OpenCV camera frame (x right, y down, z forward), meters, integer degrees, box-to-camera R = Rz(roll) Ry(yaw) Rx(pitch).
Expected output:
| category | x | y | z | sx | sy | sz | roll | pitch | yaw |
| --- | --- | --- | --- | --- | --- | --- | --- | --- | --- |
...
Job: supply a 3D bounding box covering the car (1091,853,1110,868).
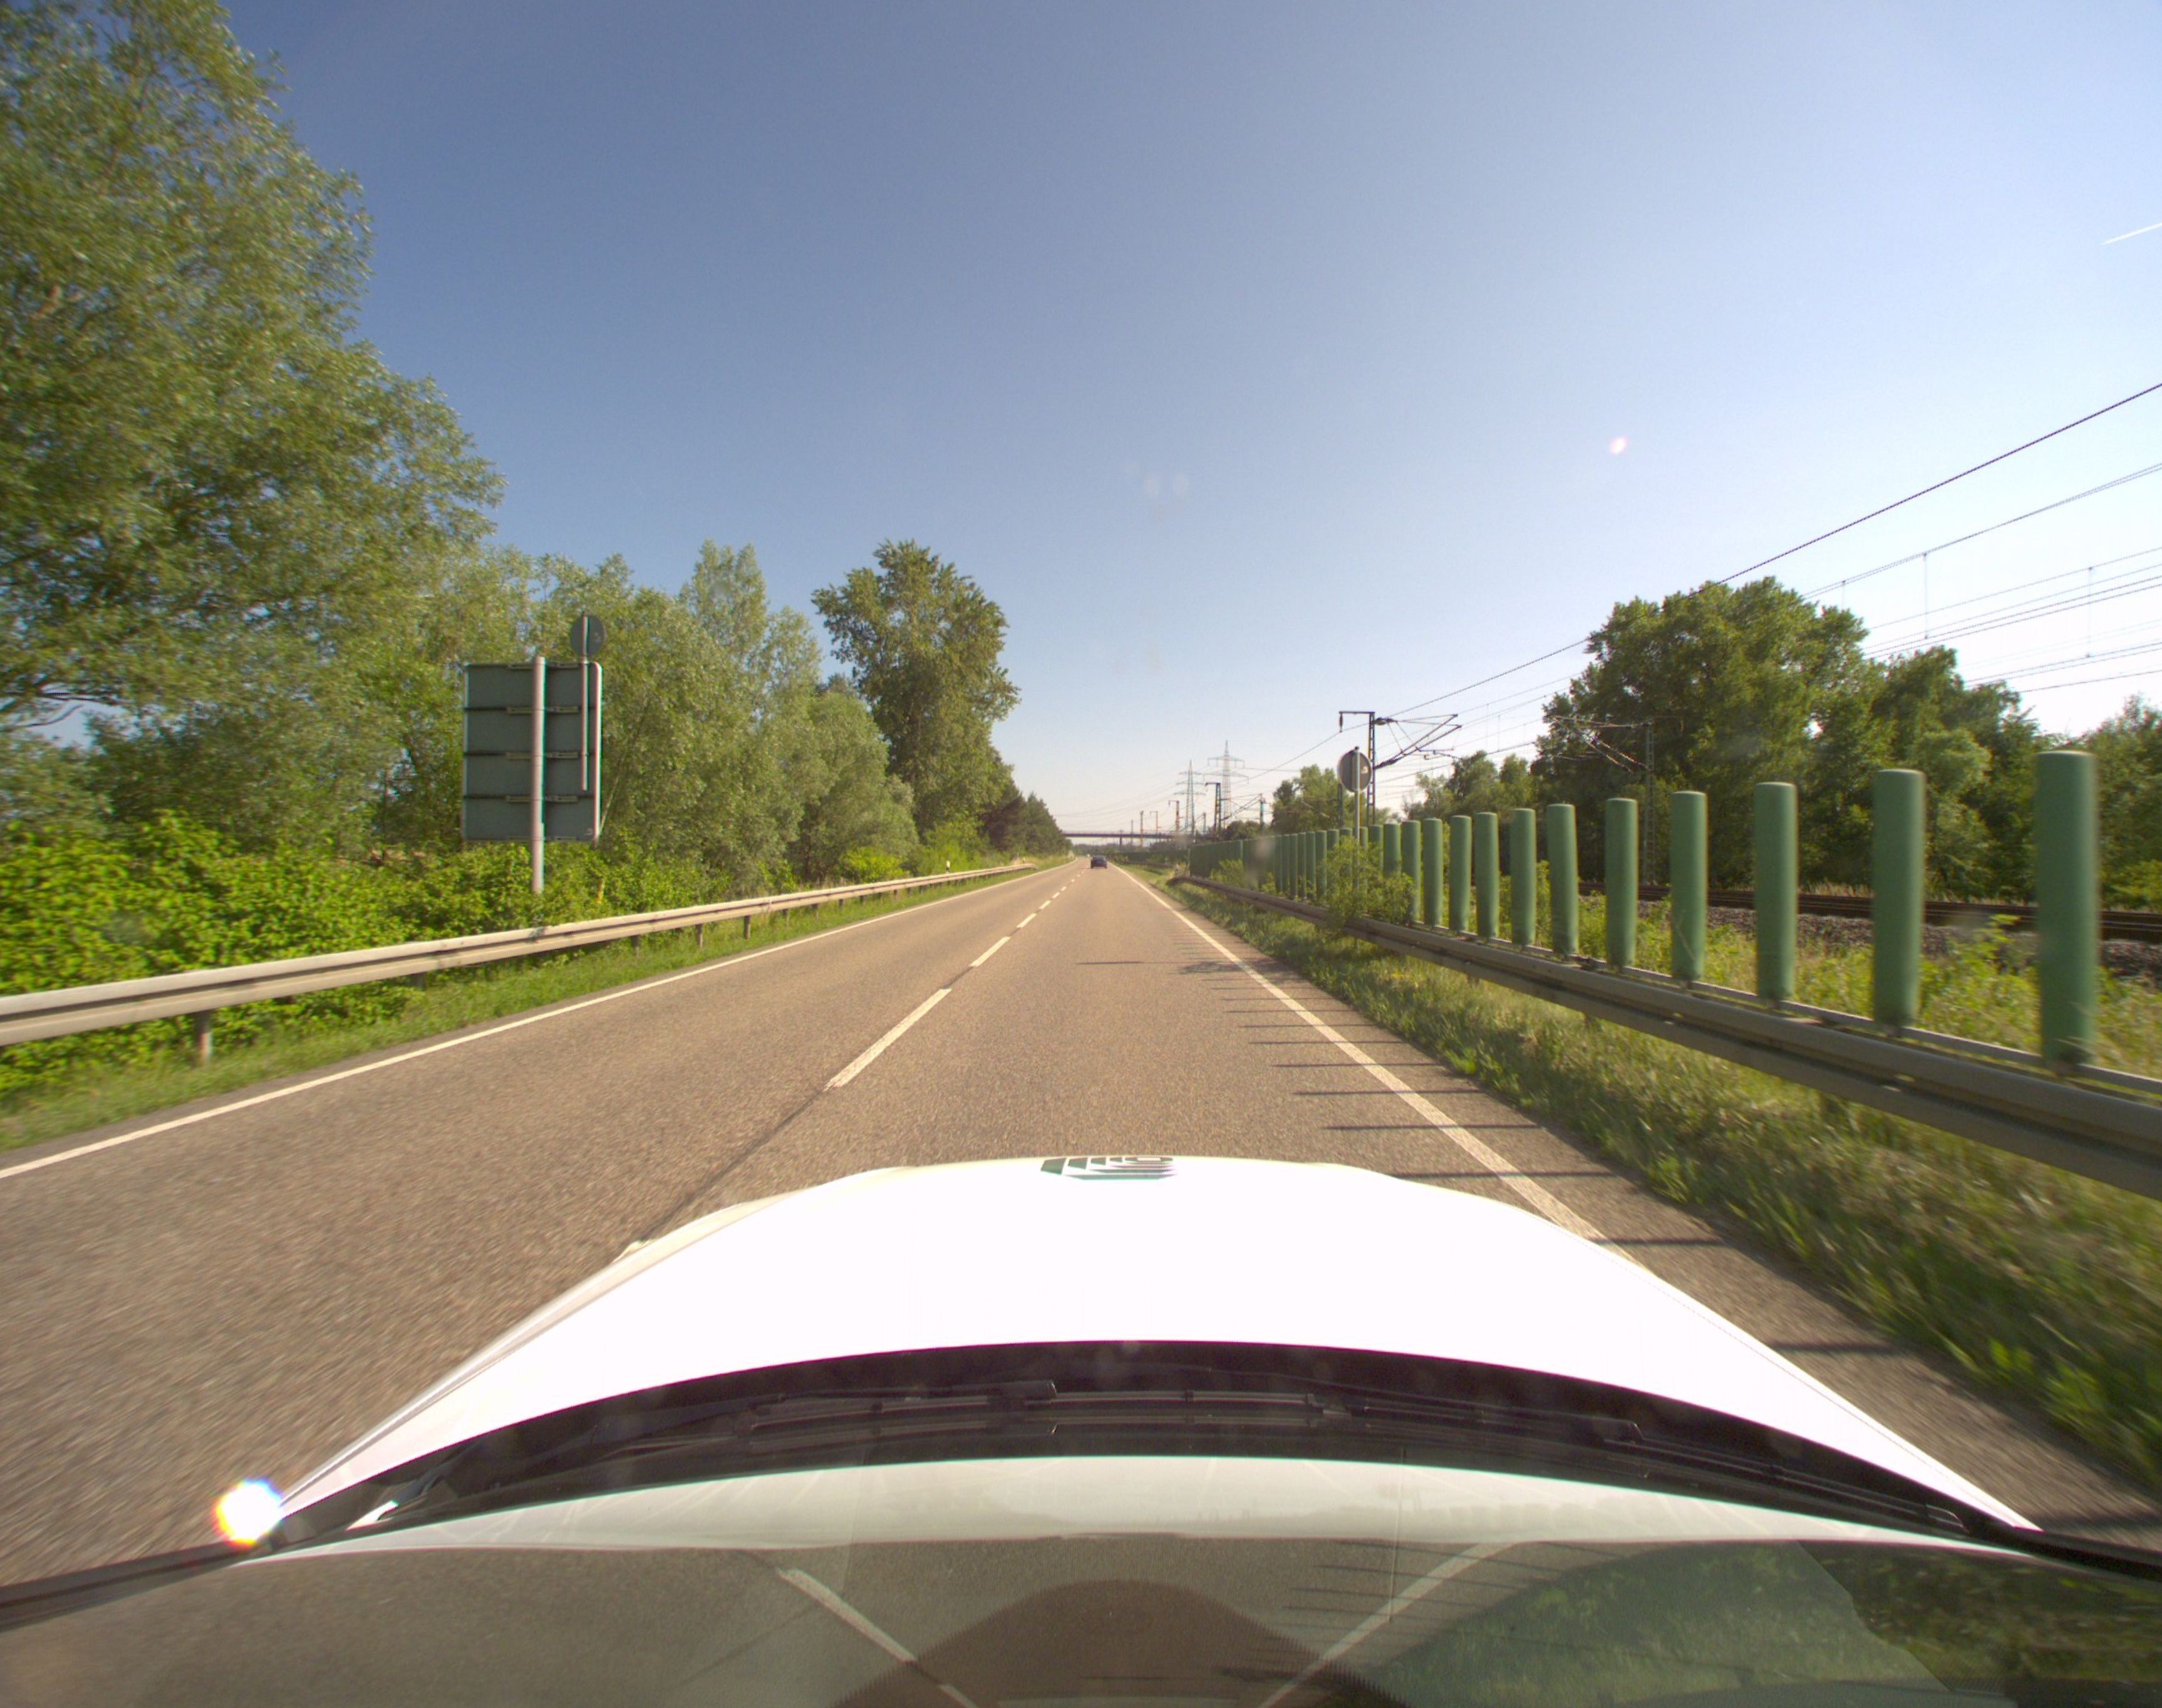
| category | x | y | z | sx | sy | sz | roll | pitch | yaw |
| --- | --- | --- | --- | --- | --- | --- | --- | --- | --- |
| car | 2.226 | 0.752 | 92.864 | 1.854 | 1.642 | 3.997 | -2 | 0 | -2 |
